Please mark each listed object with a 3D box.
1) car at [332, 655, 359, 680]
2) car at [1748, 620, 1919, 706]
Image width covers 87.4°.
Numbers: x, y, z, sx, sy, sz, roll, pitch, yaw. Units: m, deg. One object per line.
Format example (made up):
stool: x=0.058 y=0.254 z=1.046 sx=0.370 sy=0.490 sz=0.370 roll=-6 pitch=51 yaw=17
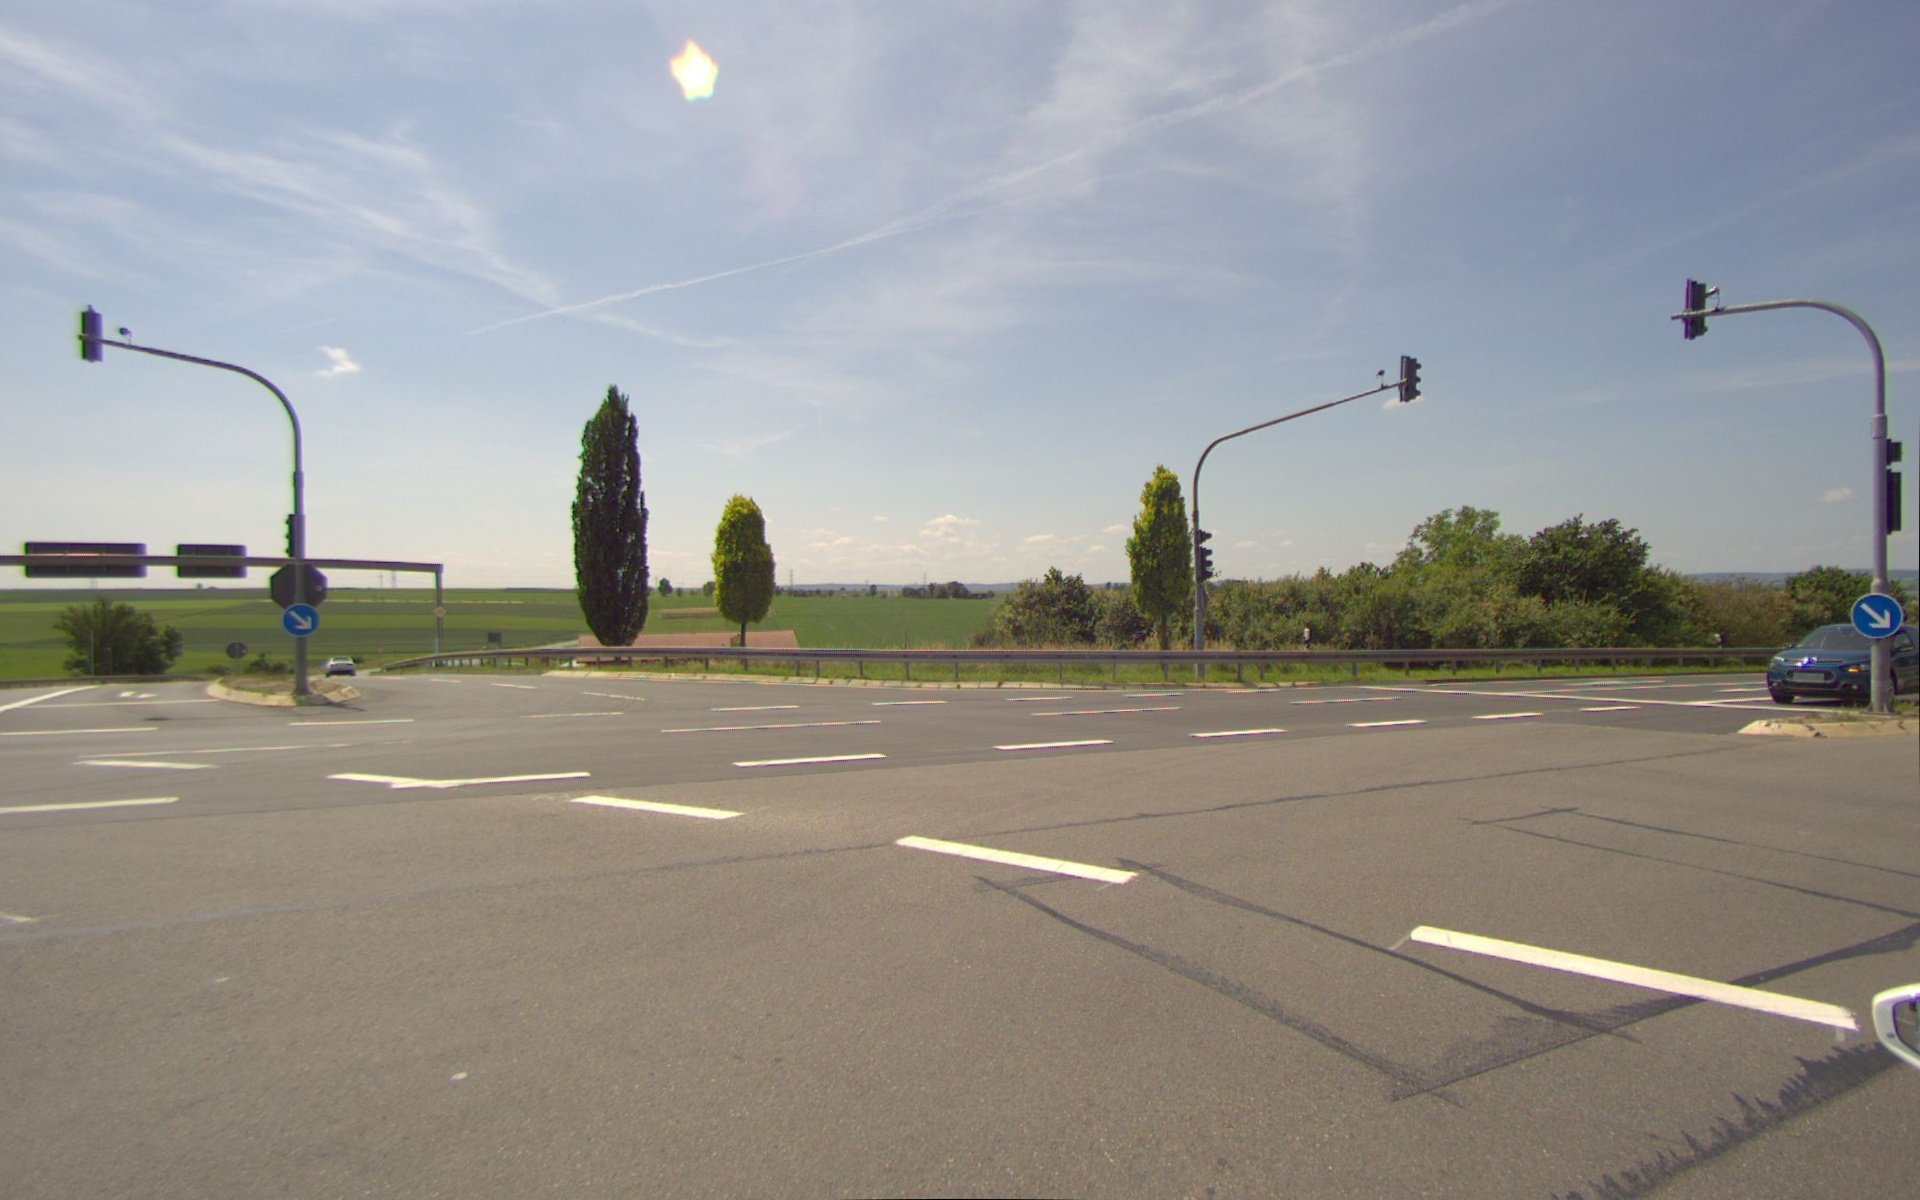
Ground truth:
car: x=-45.458 y=4.952 z=74.357 sx=1.615 sy=1.479 sz=4.455 roll=2 pitch=0 yaw=-31
car: x=17.004 y=1.140 z=19.099 sx=4.146 sy=1.488 sz=1.747 roll=1 pitch=-2 yaw=-30
